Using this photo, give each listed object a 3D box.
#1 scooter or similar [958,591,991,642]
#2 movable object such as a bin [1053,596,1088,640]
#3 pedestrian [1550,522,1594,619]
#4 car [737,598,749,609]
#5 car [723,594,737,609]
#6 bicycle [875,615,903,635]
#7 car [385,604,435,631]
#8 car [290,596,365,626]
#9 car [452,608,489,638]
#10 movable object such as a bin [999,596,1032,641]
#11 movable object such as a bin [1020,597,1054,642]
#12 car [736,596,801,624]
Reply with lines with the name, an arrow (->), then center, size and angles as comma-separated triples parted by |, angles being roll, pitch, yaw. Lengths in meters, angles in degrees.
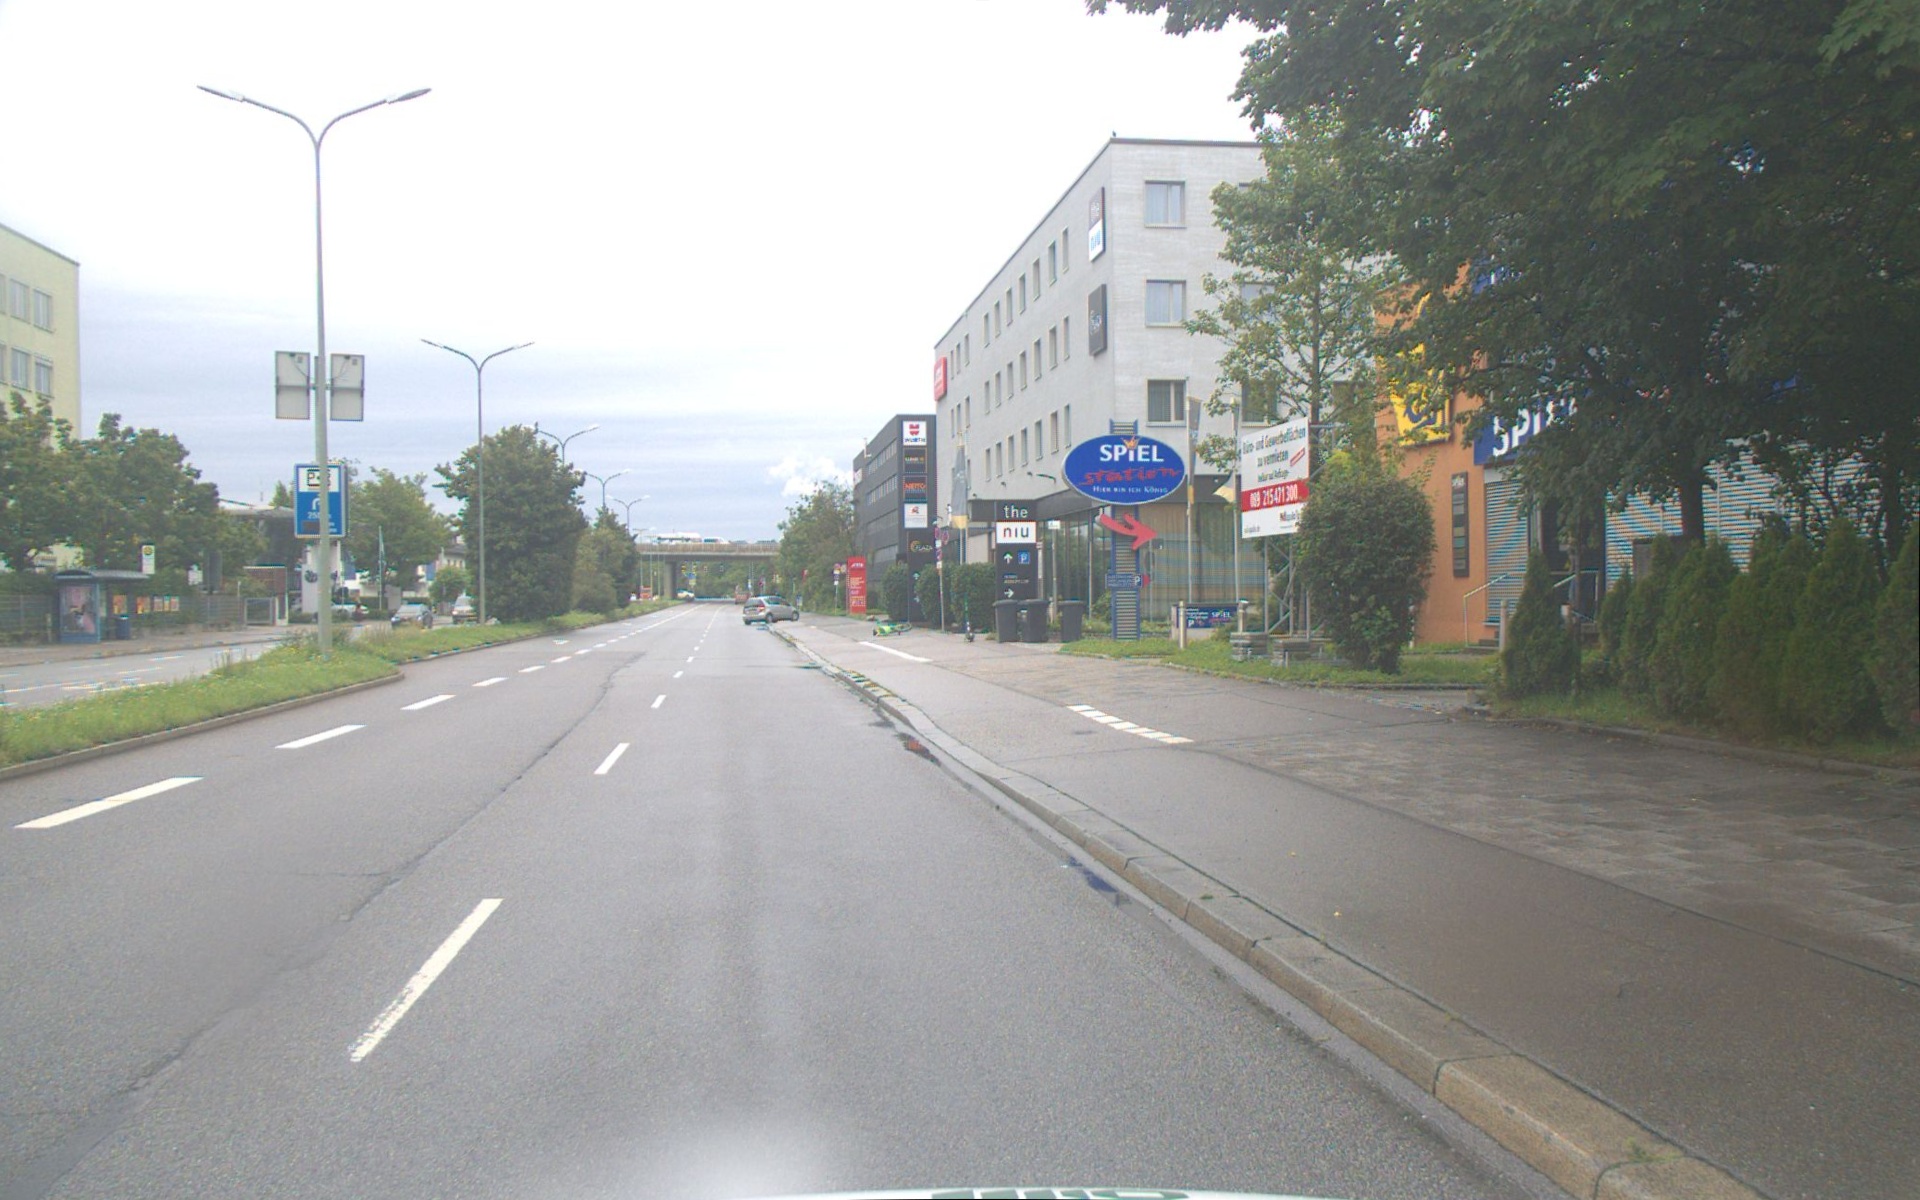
scooter or similar -> 0.386, 0.430, 44.415 | 0.575, 1.299, 1.401 | -6, 1, -8
movable object such as a bin -> 2.803, 0.452, 41.948 | 0.723, 1.097, 0.654 | -2, 0, -8
pedestrian -> 11.317, -0.543, 30.593 | 0.644, 1.742, 0.663 | -2, 0, 15
car -> -30.804, 0.438, 234.888 | 1.703, 1.575, 4.296 | 0, 0, -8
car -> -32.674, 0.248, 234.828 | 1.777, 2.049, 3.828 | 0, 0, -7
bicycle -> -2.347, 0.812, 54.671 | 0.706, 0.558, 1.729 | -5, 1, -8
car -> -31.774, 0.979, 95.703 | 1.957, 1.425, 4.644 | -2, 1, -9
car -> -43.941, 0.789, 114.885 | 4.586, 1.874, 1.782 | -3, 1, -32
car -> -35.181, 1.611, 118.980 | 1.957, 1.995, 4.315 | -2, 0, -9
movable object such as a bin -> 1.420, 0.469, 42.352 | 0.723, 1.097, 0.654 | -2, 0, -8
movable object such as a bin -> 1.946, 0.489, 41.710 | 0.723, 1.097, 0.654 | -2, 0, -8
car -> -11.349, 0.573, 98.161 | 1.780, 1.585, 4.019 | 0, 0, 30
